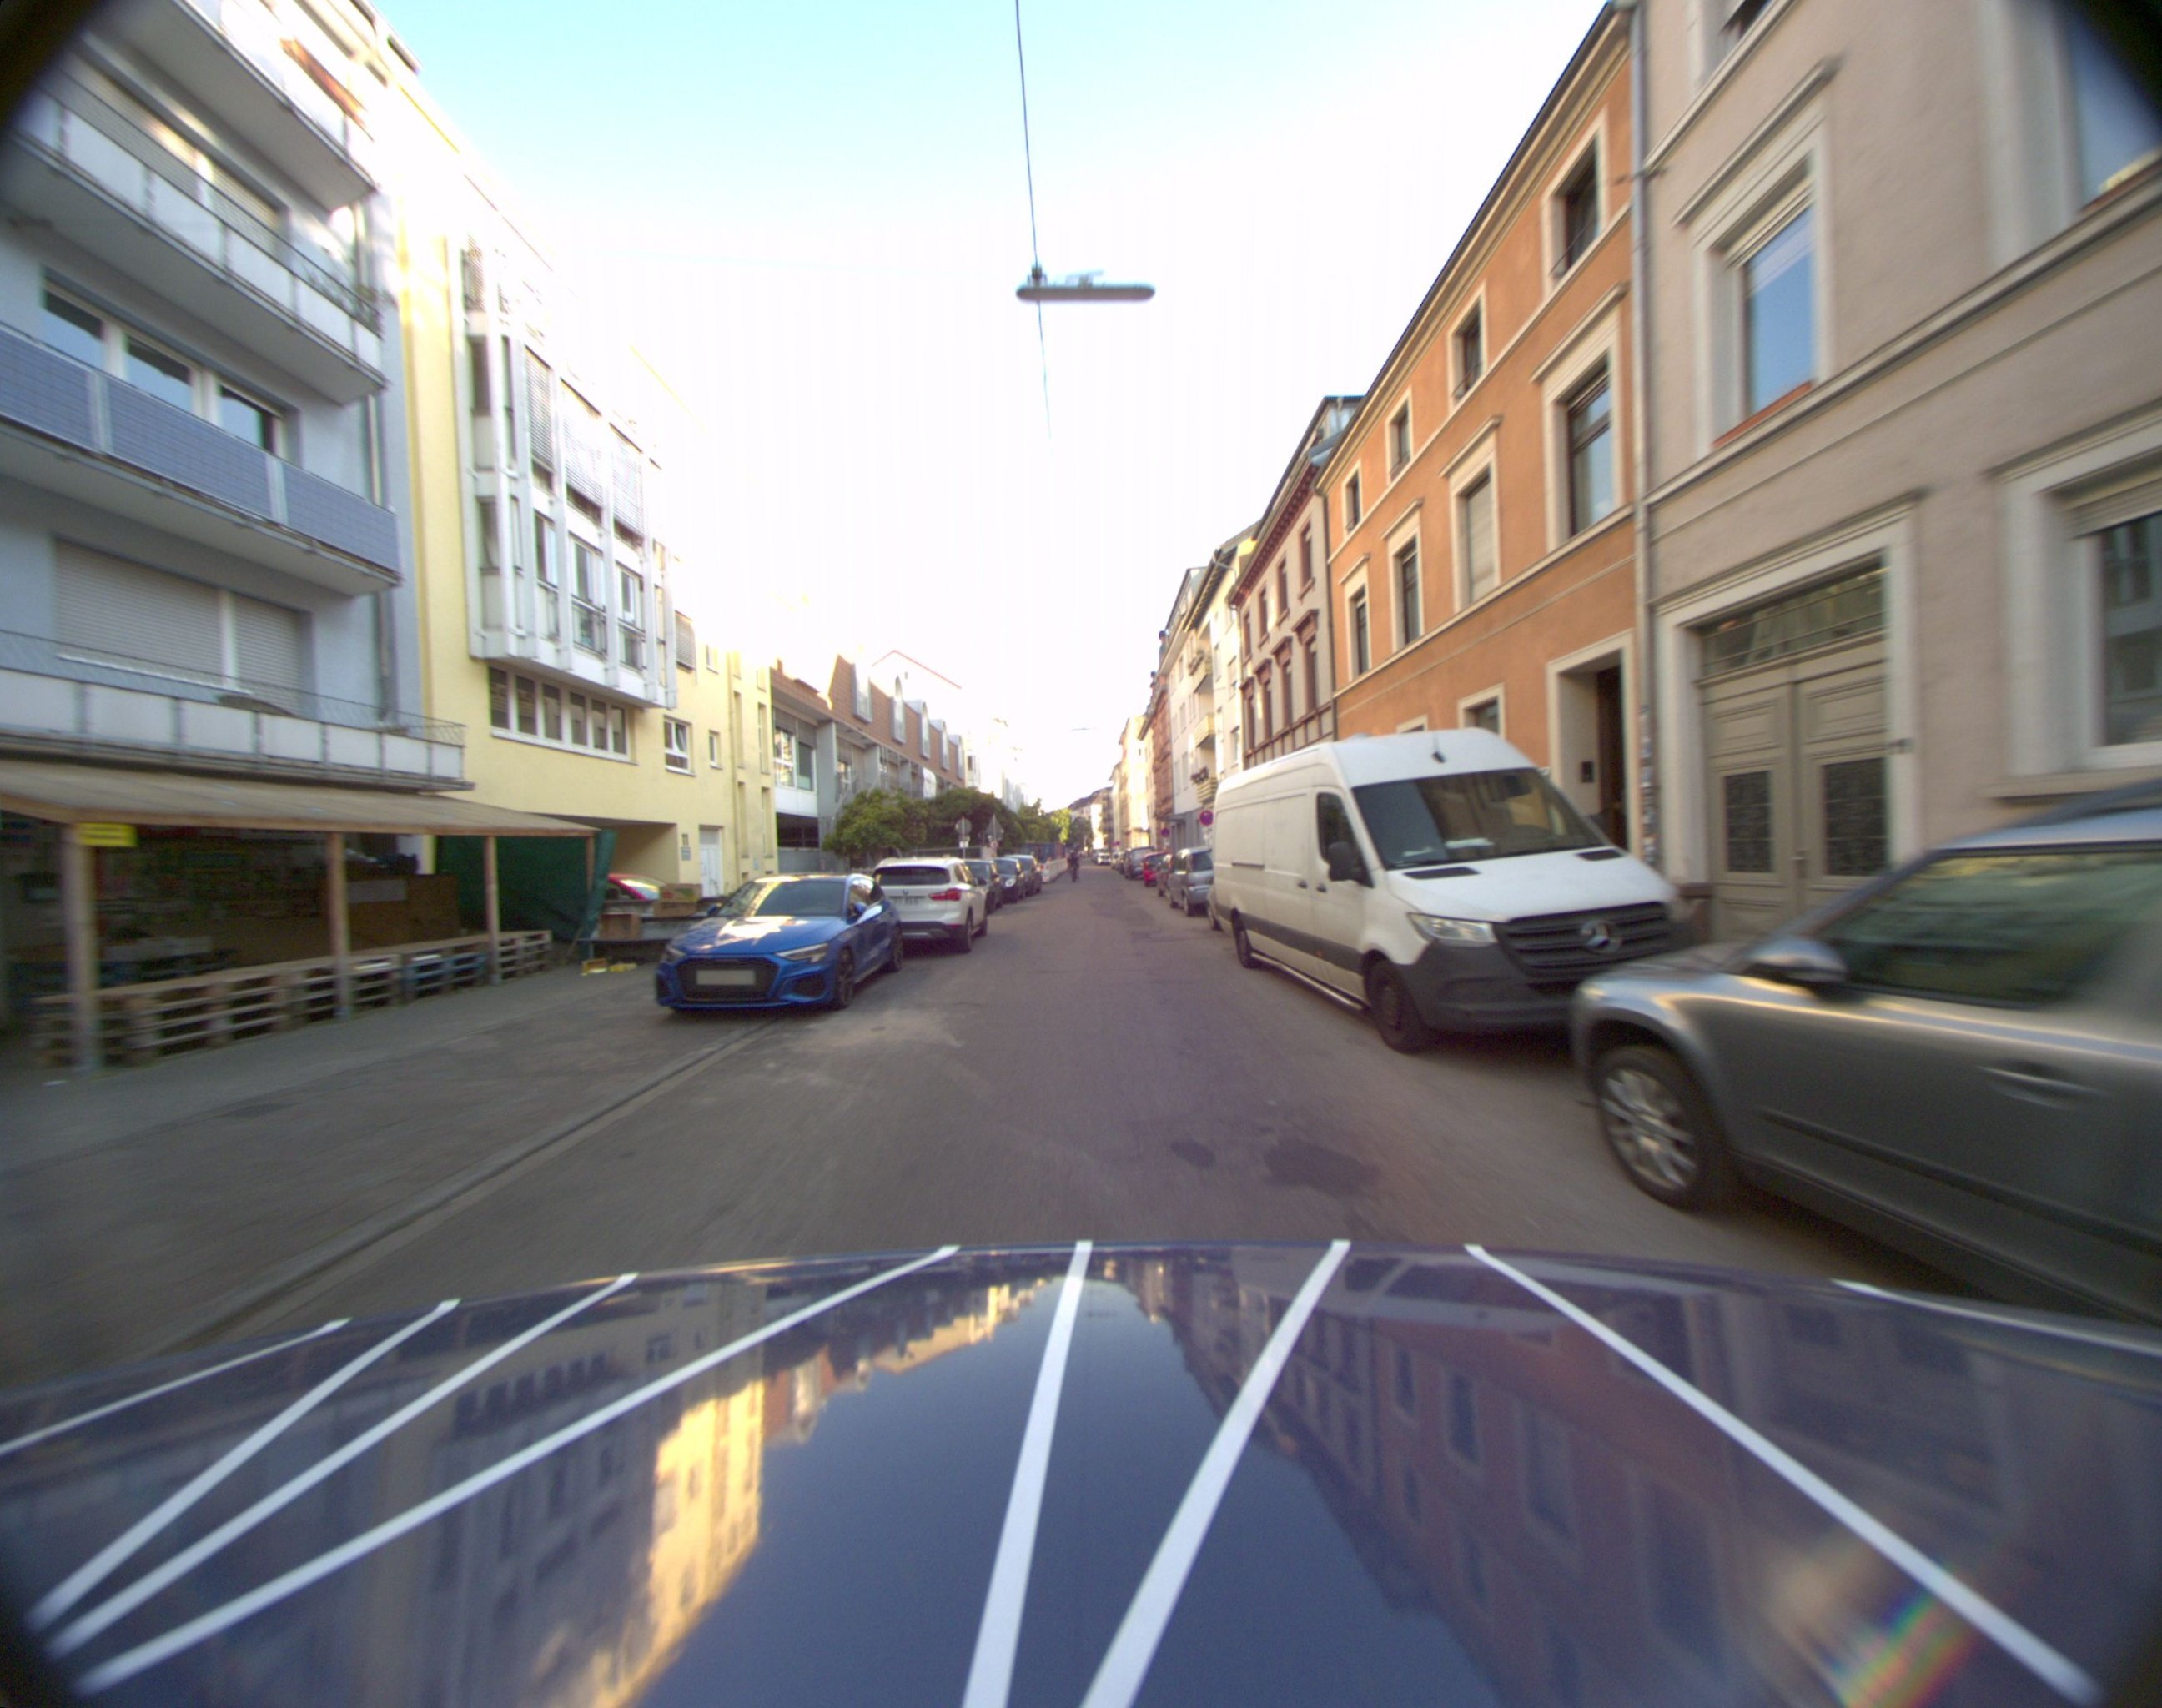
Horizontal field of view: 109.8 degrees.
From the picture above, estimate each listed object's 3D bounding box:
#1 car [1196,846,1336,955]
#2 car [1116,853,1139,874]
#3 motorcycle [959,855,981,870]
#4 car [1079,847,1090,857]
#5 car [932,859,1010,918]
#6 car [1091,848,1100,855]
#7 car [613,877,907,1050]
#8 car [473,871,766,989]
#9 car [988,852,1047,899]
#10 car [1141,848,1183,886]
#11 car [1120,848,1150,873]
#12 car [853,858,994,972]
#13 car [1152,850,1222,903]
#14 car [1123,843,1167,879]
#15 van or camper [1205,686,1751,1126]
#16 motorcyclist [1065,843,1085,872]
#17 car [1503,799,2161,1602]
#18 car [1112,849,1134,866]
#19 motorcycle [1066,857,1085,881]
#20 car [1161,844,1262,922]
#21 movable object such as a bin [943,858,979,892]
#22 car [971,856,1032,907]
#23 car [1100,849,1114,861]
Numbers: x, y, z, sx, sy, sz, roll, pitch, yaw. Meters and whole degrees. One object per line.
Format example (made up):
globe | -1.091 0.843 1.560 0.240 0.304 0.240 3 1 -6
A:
car | 3.259 0.739 14.066 1.594 1.676 3.652 -3 0 0
car | 3.901 0.777 63.783 1.559 1.500 3.597 -5 0 0
motorcycle | -9.818 0.713 67.214 0.871 1.215 2.459 -1 1 19
car | 0.735 -0.366 149.041 1.998 1.783 4.000 -3 0 1
car | -3.095 0.932 22.122 1.624 1.477 4.124 0 1 1
car | 3.673 -0.648 193.418 1.998 1.783 4.000 -3 0 1
car | -3.378 1.048 9.005 1.727 1.380 4.294 -1 0 -1
car | -7.799 1.246 13.129 3.905 1.598 1.694 -4 1 -1
car | -2.516 0.801 31.190 1.753 1.673 4.526 -3 0 2
car | 3.714 0.554 35.086 1.672 1.477 3.606 -7 0 5
car | 3.789 0.411 53.847 1.744 1.590 4.014 -3 0 0
car | -2.665 0.940 13.949 1.727 1.602 4.587 -3 1 -2
car | 3.365 0.685 24.709 1.661 1.440 3.285 -6 1 -1
car | 3.630 0.376 43.938 1.999 1.848 4.584 -3 0 -1
van or camper | 3.021 0.284 8.187 1.954 2.634 7.139 -1 1 -2
motorcyclist | -0.320 0.215 42.288 0.873 1.558 1.000 -4 -1 6
car | 3.241 0.712 1.904 1.868 1.741 4.292 -3 0 -1
car | 3.797 0.338 69.467 1.636 1.422 3.554 -3 0 -1
motorcycle | -0.276 0.824 42.290 0.806 1.242 1.699 -4 -1 6
car | 3.185 0.642 19.300 1.715 1.635 3.978 -5 0 -1
movable object such as a bin | -5.187 0.890 32.825 1.256 1.368 0.800 -4 1 -25
car | -2.725 0.904 26.767 1.626 1.548 3.693 -3 0 1
car | 3.187 0.097 93.026 1.688 1.487 3.844 1 1 2
